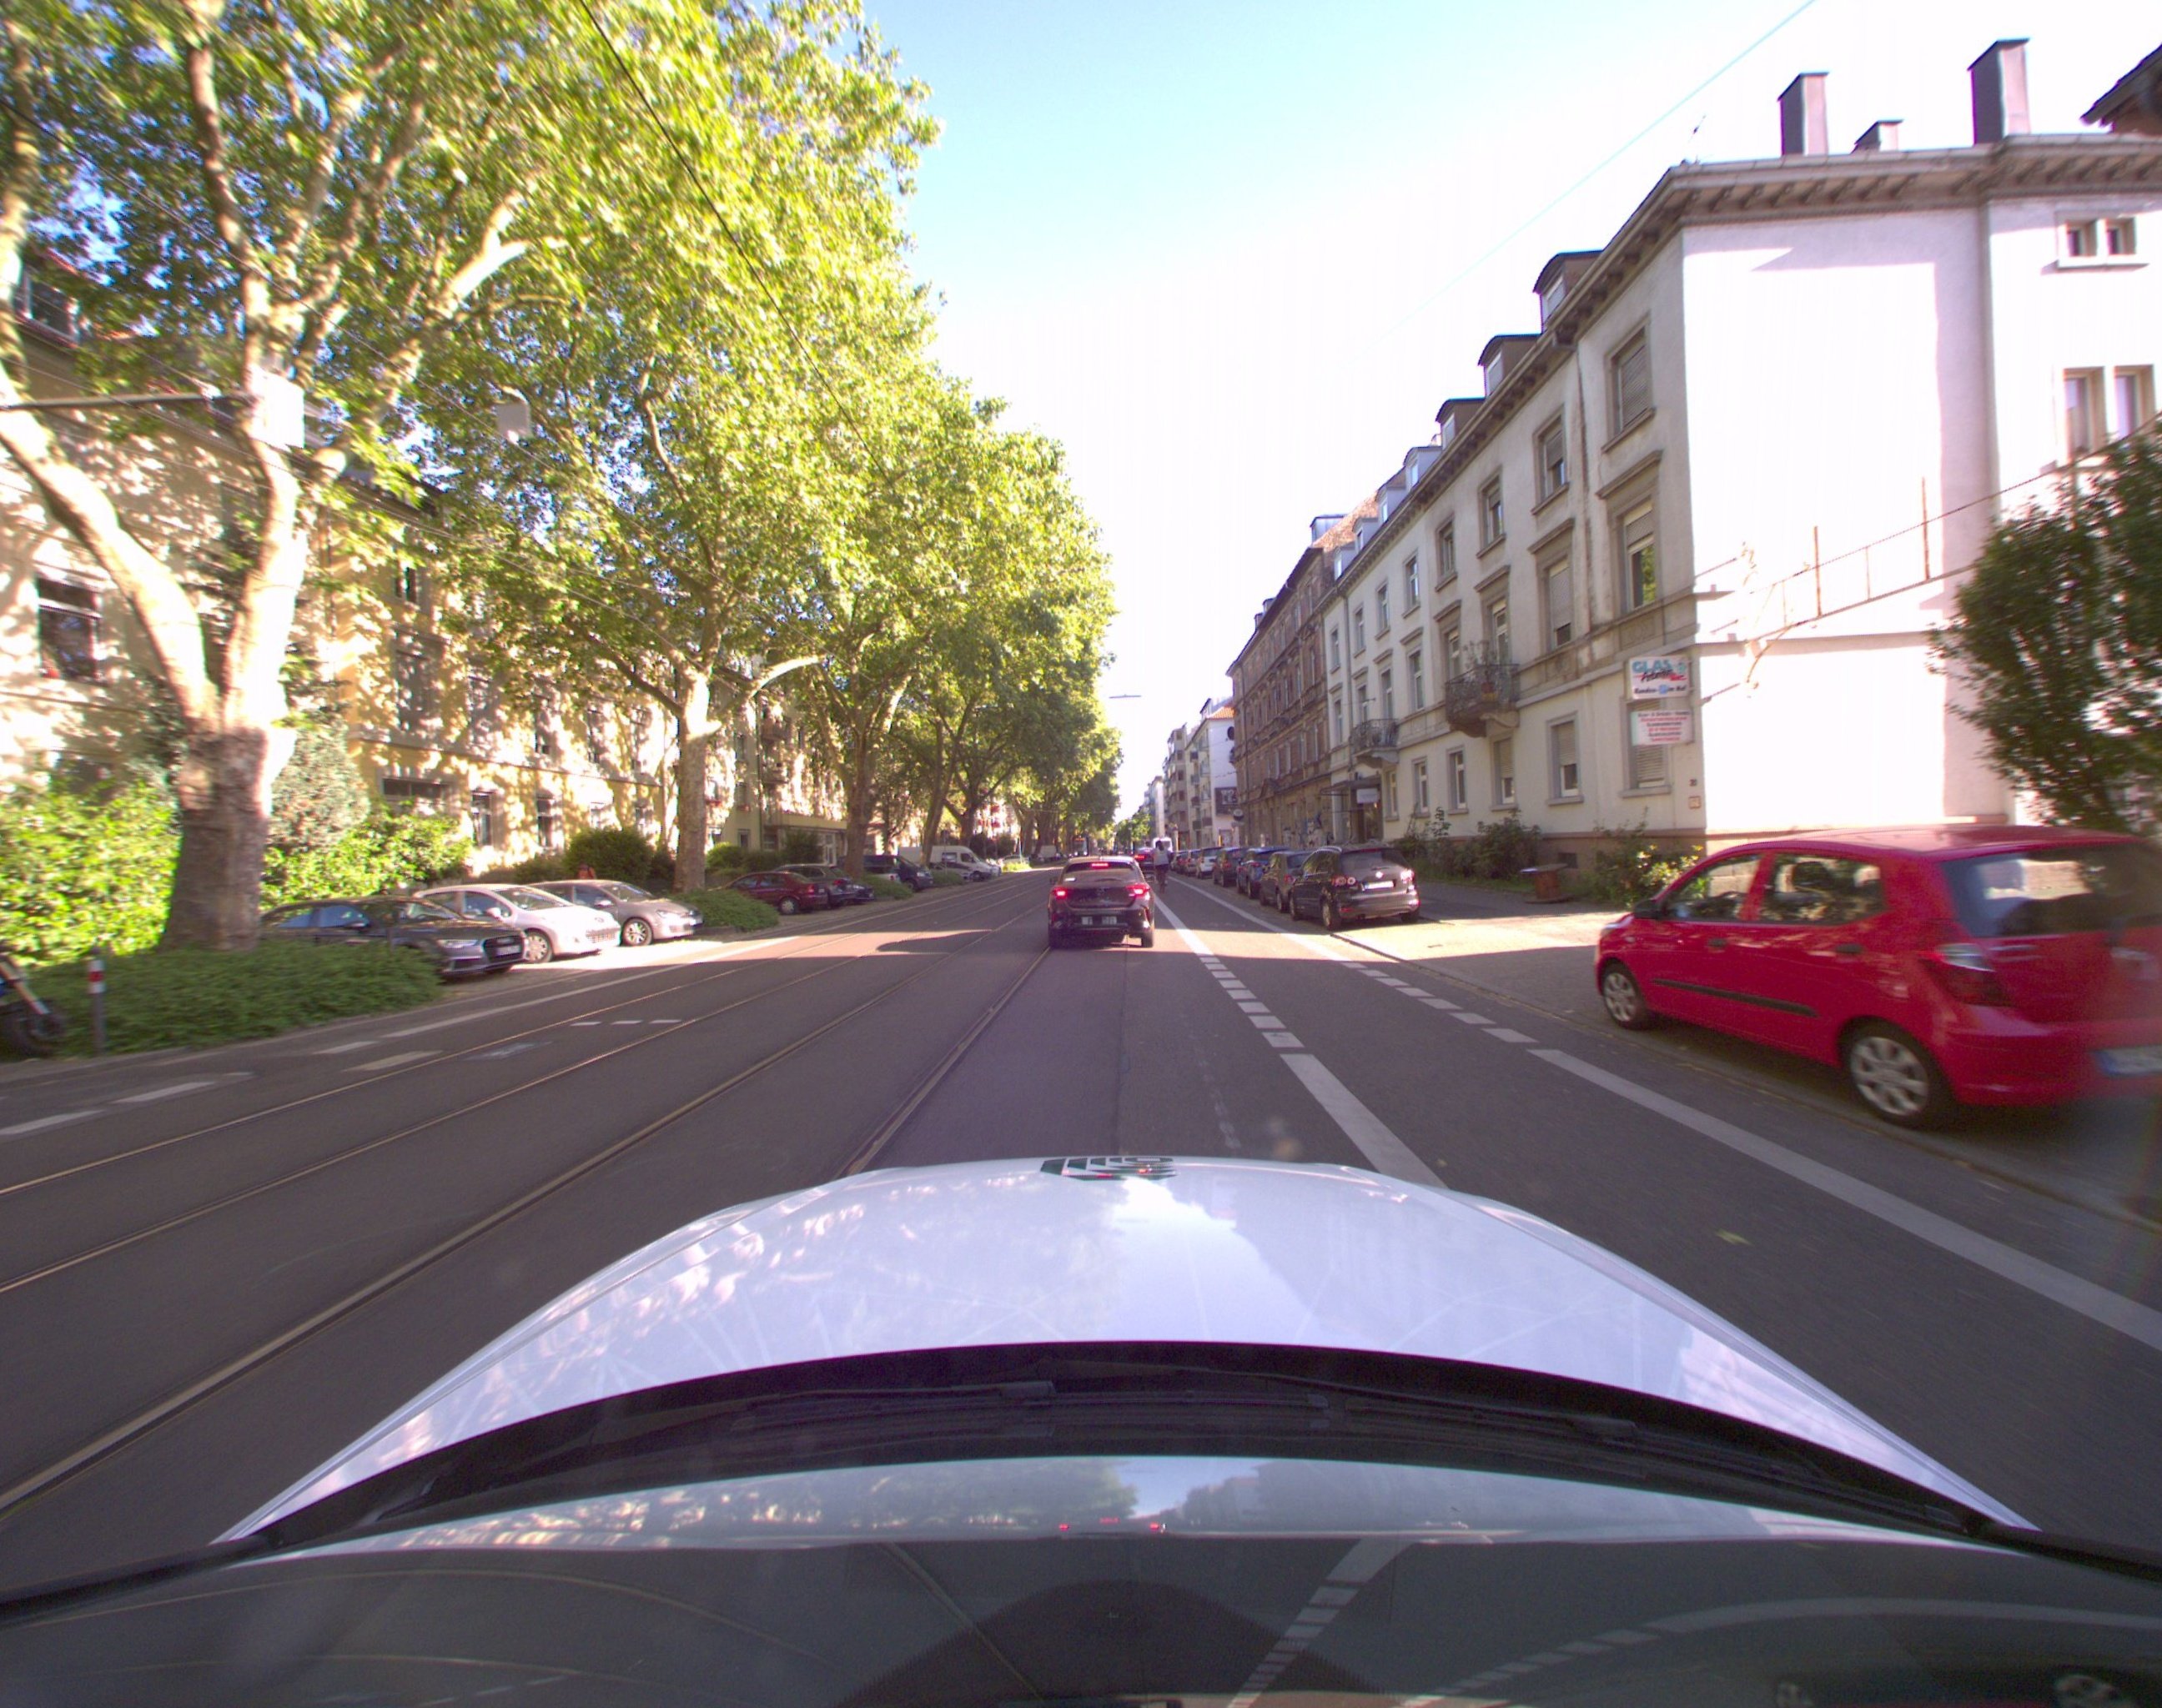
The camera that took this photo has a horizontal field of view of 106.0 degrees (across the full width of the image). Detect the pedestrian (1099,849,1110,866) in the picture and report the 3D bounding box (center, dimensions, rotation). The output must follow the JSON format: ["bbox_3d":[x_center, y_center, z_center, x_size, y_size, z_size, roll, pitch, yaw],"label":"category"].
[{"bbox_3d":[2.163,0.301,73.684,0.672,1.567,0.773,-2,0,26],"label":"pedestrian"}]

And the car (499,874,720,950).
[{"bbox_3d":[-10.570,1.271,18.450,3.904,1.462,1.807,-2,0,2],"label":"car"}]

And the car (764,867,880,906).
[{"bbox_3d":[-10.010,1.233,31.650,3.906,1.421,1.819,-1,0,0],"label":"car"}]

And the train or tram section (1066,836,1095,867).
[{"bbox_3d":[0.038,-0.345,106.194,2.723,3.681,12.728,-3,0,3],"label":"train or tram section"}]

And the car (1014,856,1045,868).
[{"bbox_3d":[-6.820,1.085,108.240,3.908,1.498,1.677,-1,0,-1],"label":"car"}]

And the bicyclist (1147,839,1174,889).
[{"bbox_3d":[2.880,0.363,29.617,0.845,1.740,1.162,-2,0,1],"label":"bicyclist"}]

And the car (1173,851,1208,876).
[{"bbox_3d":[6.742,0.560,50.495,1.802,1.338,3.937,-6,0,4],"label":"car"}]

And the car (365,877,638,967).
[{"bbox_3d":[-10.949,1.255,15.582,3.906,1.453,1.801,-2,0,2],"label":"car"}]

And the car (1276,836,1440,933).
[{"bbox_3d":[5.516,0.562,16.793,1.875,1.586,3.931,-5,0,-1],"label":"car"}]

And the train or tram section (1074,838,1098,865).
[{"bbox_3d":[0.836,-0.361,118.788,2.723,3.681,12.728,-3,0,3],"label":"train or tram section"}]

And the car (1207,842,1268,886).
[{"bbox_3d":[6.125,0.365,32.224,1.704,1.483,3.766,-5,0,3],"label":"car"}]

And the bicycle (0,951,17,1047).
[{"bbox_3d":[-11.171,1.465,7.241,0.537,0.940,2.040,-2,0,10],"label":"bicycle"}]

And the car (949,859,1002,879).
[{"bbox_3d":[-8.110,1.167,62.779,3.908,1.498,1.677,-1,0,-1],"label":"car"}]

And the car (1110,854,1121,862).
[{"bbox_3d":[6.174,0.655,146.585,1.803,1.338,3.935,-2,0,2],"label":"car"}]

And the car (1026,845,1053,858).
[{"bbox_3d":[-5.963,-0.359,117.565,3.908,1.790,1.677,-1,0,-1],"label":"car"}]

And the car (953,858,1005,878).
[{"bbox_3d":[-8.169,1.106,65.273,3.908,1.577,1.677,-1,0,-1],"label":"car"}]

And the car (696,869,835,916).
[{"bbox_3d":[-10.408,1.259,27.060,3.904,1.442,1.750,-1,0,2],"label":"car"}]

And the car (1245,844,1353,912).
[{"bbox_3d":[5.591,0.570,21.338,1.792,1.456,3.769,-5,0,1],"label":"car"}]

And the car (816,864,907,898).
[{"bbox_3d":[-10.249,1.234,38.163,3.720,1.498,1.747,-1,0,2],"label":"car"}]

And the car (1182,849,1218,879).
[{"bbox_3d":[6.661,0.539,45.900,1.696,1.456,3.703,-6,0,6],"label":"car"}]

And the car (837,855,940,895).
[{"bbox_3d":[-9.655,1.037,41.073,4.655,1.924,1.982,-1,0,3],"label":"car"}]

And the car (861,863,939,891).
[{"bbox_3d":[-9.697,1.227,43.783,3.720,1.430,1.638,-1,0,2],"label":"car"}]

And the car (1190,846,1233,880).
[{"bbox_3d":[6.521,0.455,40.846,1.562,1.517,3.040,-5,0,0],"label":"car"}]

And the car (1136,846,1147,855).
[{"bbox_3d":[9.936,-0.585,134.020,1.802,1.338,3.937,-6,0,4],"label":"car"}]

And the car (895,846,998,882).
[{"bbox_3d":[-9.221,0.678,56.178,6.601,2.409,2.459,-1,0,2],"label":"car"}]

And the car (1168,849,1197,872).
[{"bbox_3d":[7.086,0.450,56.953,1.654,1.419,3.937,-5,0,4],"label":"car"}]

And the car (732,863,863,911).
[{"bbox_3d":[-10.107,1.160,29.247,3.979,1.627,1.880,-1,0,2],"label":"car"}]

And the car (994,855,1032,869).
[{"bbox_3d":[-7.313,0.867,87.186,3.908,1.498,1.677,-1,0,-1],"label":"car"}]

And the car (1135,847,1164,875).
[{"bbox_3d":[4.532,0.439,54.577,1.802,1.742,3.937,-2,0,4],"label":"car"}]

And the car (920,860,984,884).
[{"bbox_3d":[-8.460,1.167,53.770,3.907,1.498,1.677,-1,0,0],"label":"car"}]

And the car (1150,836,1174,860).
[{"bbox_3d":[8.288,-0.593,83.489,2.067,2.219,4.938,-5,0,4],"label":"car"}]

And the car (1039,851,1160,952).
[{"bbox_3d":[0.351,0.719,14.065,1.787,1.441,3.533,-2,1,2],"label":"car"}]

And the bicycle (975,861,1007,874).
[{"bbox_3d":[-8.663,1.265,78.547,2.918,1.169,0.995,-2,0,19],"label":"bicycle"}]

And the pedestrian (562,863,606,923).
[{"bbox_3d":[-15.935,1.234,26.138,0.863,1.849,0.836,-2,0,-5],"label":"pedestrian"}]

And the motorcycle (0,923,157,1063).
[{"bbox_3d":[-10.083,1.297,7.193,0.879,1.147,2.397,-2,0,10],"label":"motorcycle"}]

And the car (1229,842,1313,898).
[{"bbox_3d":[5.948,0.464,25.953,1.872,1.456,4.029,-6,0,4],"label":"car"}]

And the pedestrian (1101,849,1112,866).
[{"bbox_3d":[2.320,0.297,74.495,0.672,1.567,0.773,-2,0,26],"label":"pedestrian"}]

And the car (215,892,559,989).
[{"bbox_3d":[-10.846,1.324,12.934,3.904,1.332,1.849,-1,0,2],"label":"car"}]

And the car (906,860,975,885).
[{"bbox_3d":[-8.660,1.125,50.464,3.903,1.498,1.679,-1,0,3],"label":"car"}]

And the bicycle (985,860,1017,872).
[{"bbox_3d":[-7.936,1.176,80.711,2.918,1.169,0.995,-2,0,19],"label":"bicycle"}]

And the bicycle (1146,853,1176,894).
[{"bbox_3d":[2.892,0.682,29.516,0.857,1.407,2.525,-2,0,1],"label":"bicycle"}]

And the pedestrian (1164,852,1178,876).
[{"bbox_3d":[6.044,0.667,54.601,0.862,1.567,0.769,-2,0,4],"label":"pedestrian"}]

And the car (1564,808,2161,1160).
[{"bbox_3d":[5.059,0.571,5.457,1.627,1.546,3.579,-3,0,4],"label":"car"}]
